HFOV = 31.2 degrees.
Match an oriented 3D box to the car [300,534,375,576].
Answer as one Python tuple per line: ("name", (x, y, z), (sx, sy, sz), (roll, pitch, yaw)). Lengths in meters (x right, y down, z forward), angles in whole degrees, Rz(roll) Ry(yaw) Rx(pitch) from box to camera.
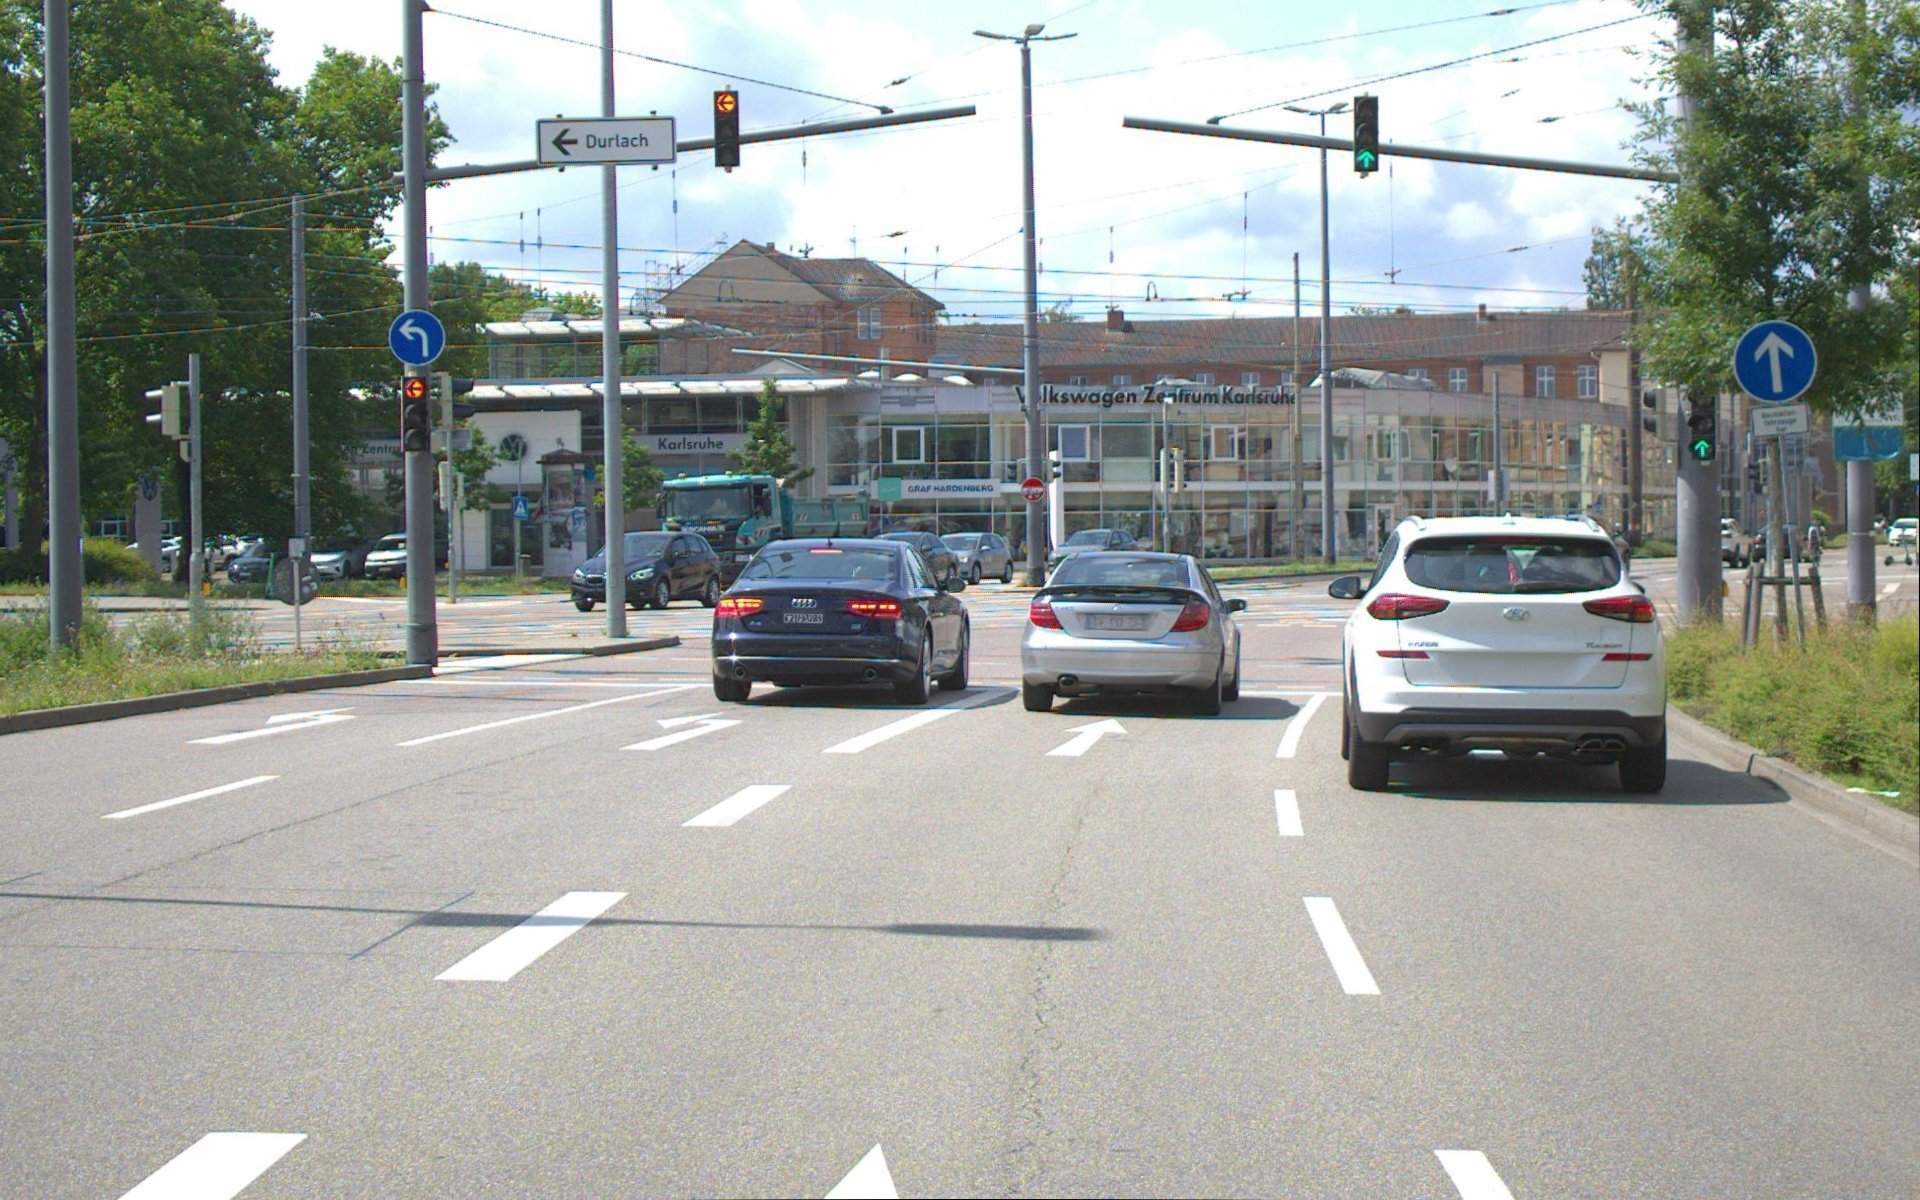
("car", (-24.321, -1.750, 134.468), (1.994, 1.568, 4.178), (1, 0, 3))

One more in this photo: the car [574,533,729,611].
("car", (-6.100, -0.584, 68.435), (1.654, 1.464, 4.151), (0, 1, 16))

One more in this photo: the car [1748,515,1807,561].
("car", (29.947, -2.297, 125.848), (1.882, 1.635, 3.954), (0, 1, 17))

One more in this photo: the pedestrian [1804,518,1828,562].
("pedestrian", (28.660, -2.013, 115.099), (0.693, 1.452, 0.679), (1, 0, 21))

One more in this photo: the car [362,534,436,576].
("car", (-21.842, -1.754, 134.010), (1.994, 1.568, 4.178), (1, 0, 3))

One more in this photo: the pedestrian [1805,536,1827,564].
("pedestrian", (28.621, -1.662, 114.957), (0.525, 0.903, 1.559), (1, 0, 20))

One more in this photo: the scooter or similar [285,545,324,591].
("scooter or similar", (-16.096, -0.775, 84.443), (0.378, 1.112, 1.094), (1, 0, 25))

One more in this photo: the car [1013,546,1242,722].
("car", (1.557, 0.248, 30.649), (1.742, 1.387, 4.179), (1, 2, 7))

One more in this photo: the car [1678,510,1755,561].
("car", (24.849, -2.140, 112.875), (1.883, 1.635, 3.953), (0, 2, 21))

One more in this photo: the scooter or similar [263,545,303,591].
("scooter or similar", (-16.686, -0.781, 84.726), (0.378, 1.112, 1.094), (1, 0, 25))

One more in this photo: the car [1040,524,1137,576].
("car", (3.930, -1.540, 104.474), (1.720, 1.526, 4.117), (0, 1, 21))

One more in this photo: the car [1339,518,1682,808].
("car", (3.358, 0.311, 21.665), (1.881, 1.635, 4.232), (0, 1, 6))

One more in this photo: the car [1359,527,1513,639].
("car", (6.435, -0.260, 46.179), (1.882, 1.414, 3.955), (0, 1, 10))

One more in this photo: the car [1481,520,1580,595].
("car", (12.844, -0.973, 77.249), (1.882, 1.635, 3.955), (0, 1, 14))

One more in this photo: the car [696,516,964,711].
("car", (-1.102, 0.060, 31.552), (1.928, 1.635, 4.792), (0, 1, 4))

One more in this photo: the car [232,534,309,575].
("car", (-26.982, -1.766, 134.651), (1.994, 1.568, 4.178), (1, 0, 3))

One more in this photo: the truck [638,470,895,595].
("truck", (-4.555, -1.664, 83.352), (2.888, 2.842, 8.784), (0, 1, 20))

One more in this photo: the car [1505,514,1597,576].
("car", (16.259, -1.531, 94.482), (1.883, 1.635, 3.953), (0, 2, 19))
